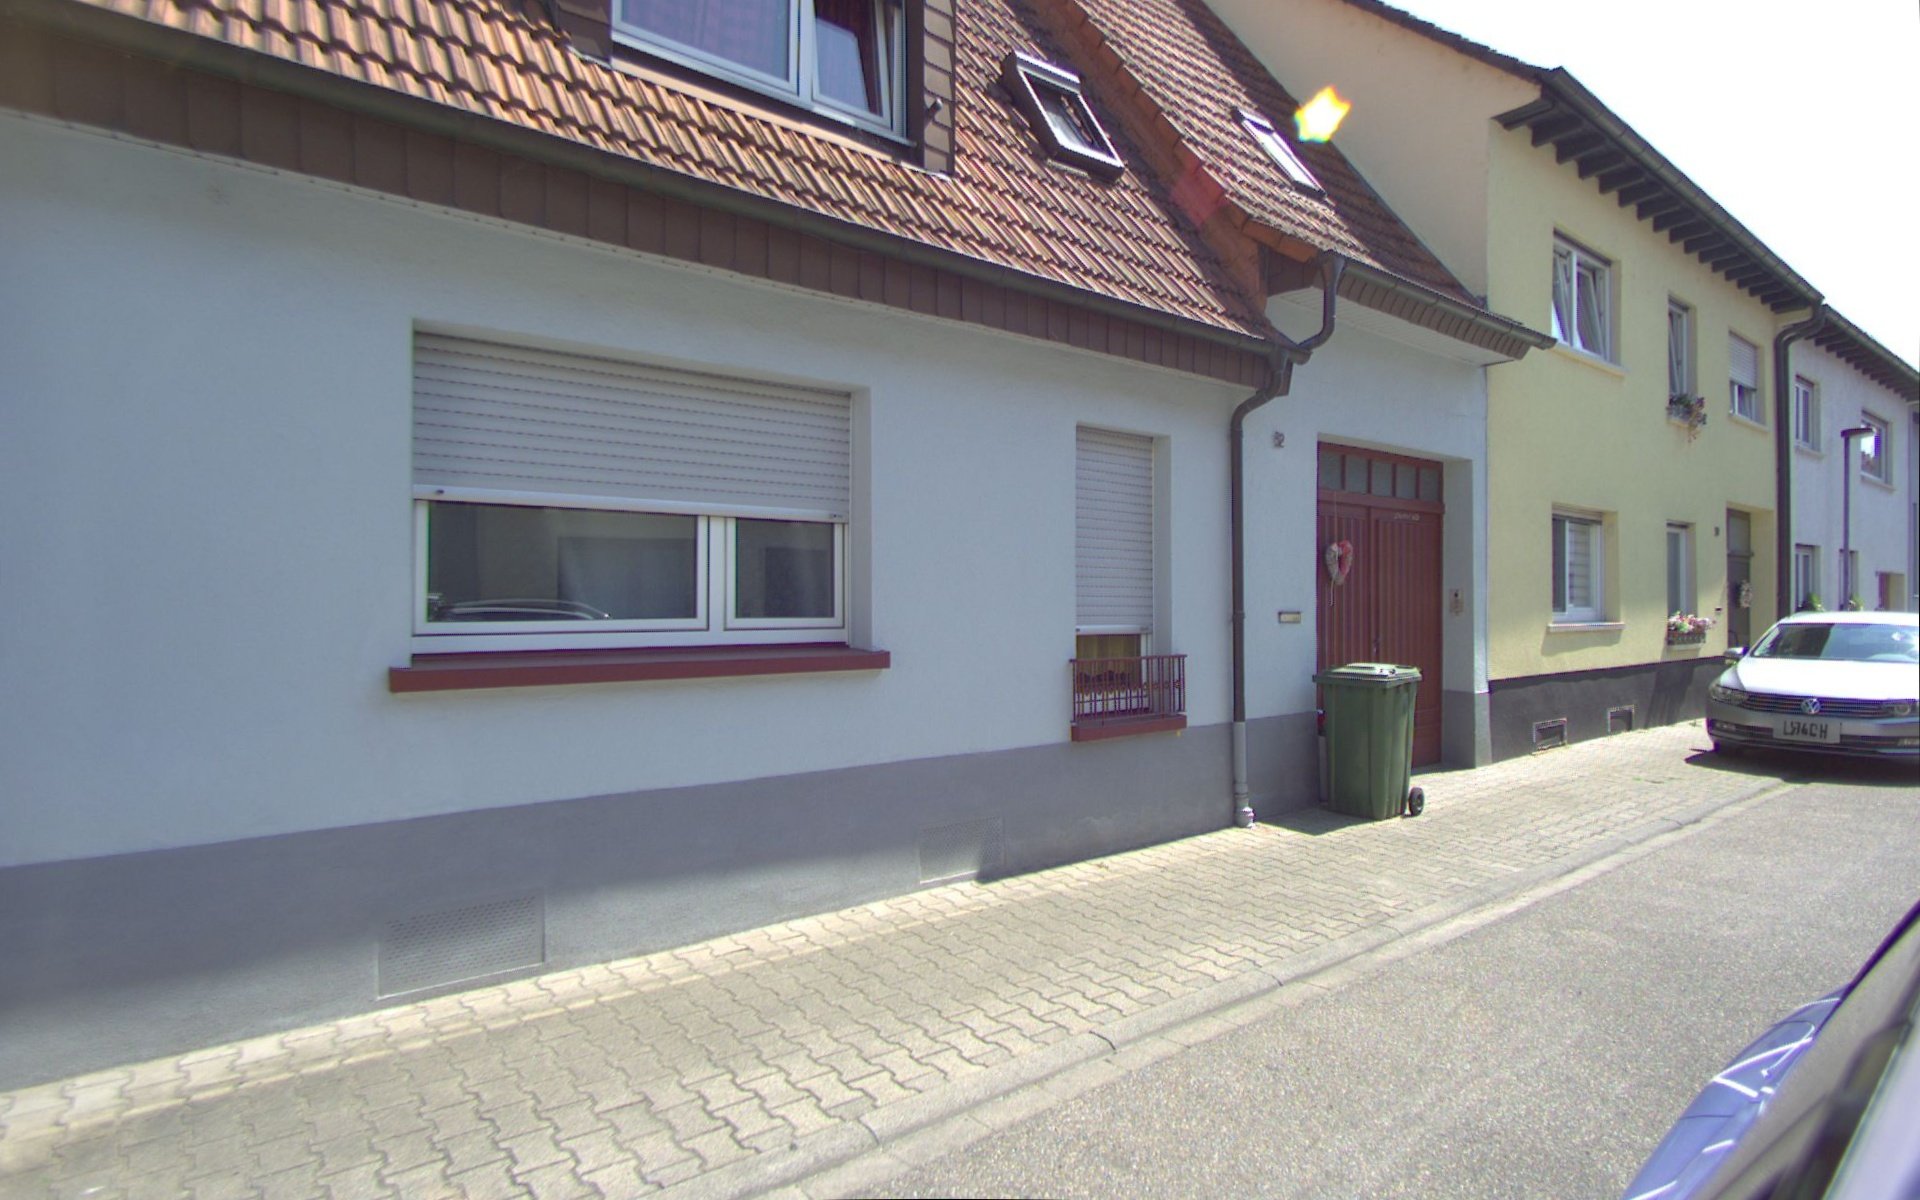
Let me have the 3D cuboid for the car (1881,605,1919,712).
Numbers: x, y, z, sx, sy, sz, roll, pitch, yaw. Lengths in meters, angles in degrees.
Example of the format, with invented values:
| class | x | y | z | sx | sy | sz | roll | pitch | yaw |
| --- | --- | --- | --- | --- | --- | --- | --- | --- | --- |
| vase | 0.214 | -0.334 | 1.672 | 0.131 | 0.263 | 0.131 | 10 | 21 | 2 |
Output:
| class | x | y | z | sx | sy | sz | roll | pitch | yaw |
| --- | --- | --- | --- | --- | --- | --- | --- | --- | --- |
| car | 15.046 | 0.804 | 14.859 | 4.029 | 1.453 | 1.700 | 0 | -1 | -40 |

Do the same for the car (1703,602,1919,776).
| class | x | y | z | sx | sy | sz | roll | pitch | yaw |
| --- | --- | --- | --- | --- | --- | --- | --- | --- | --- |
| car | 9.574 | 0.763 | 10.557 | 4.691 | 1.467 | 1.842 | 0 | -1 | -40 |

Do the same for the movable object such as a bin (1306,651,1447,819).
| class | x | y | z | sx | sy | sz | roll | pitch | yaw |
| --- | --- | --- | --- | --- | --- | --- | --- | --- | --- |
| movable object such as a bin | 3.052 | 0.947 | 7.415 | 0.798 | 1.085 | 0.660 | 0 | 0 | -40 |
